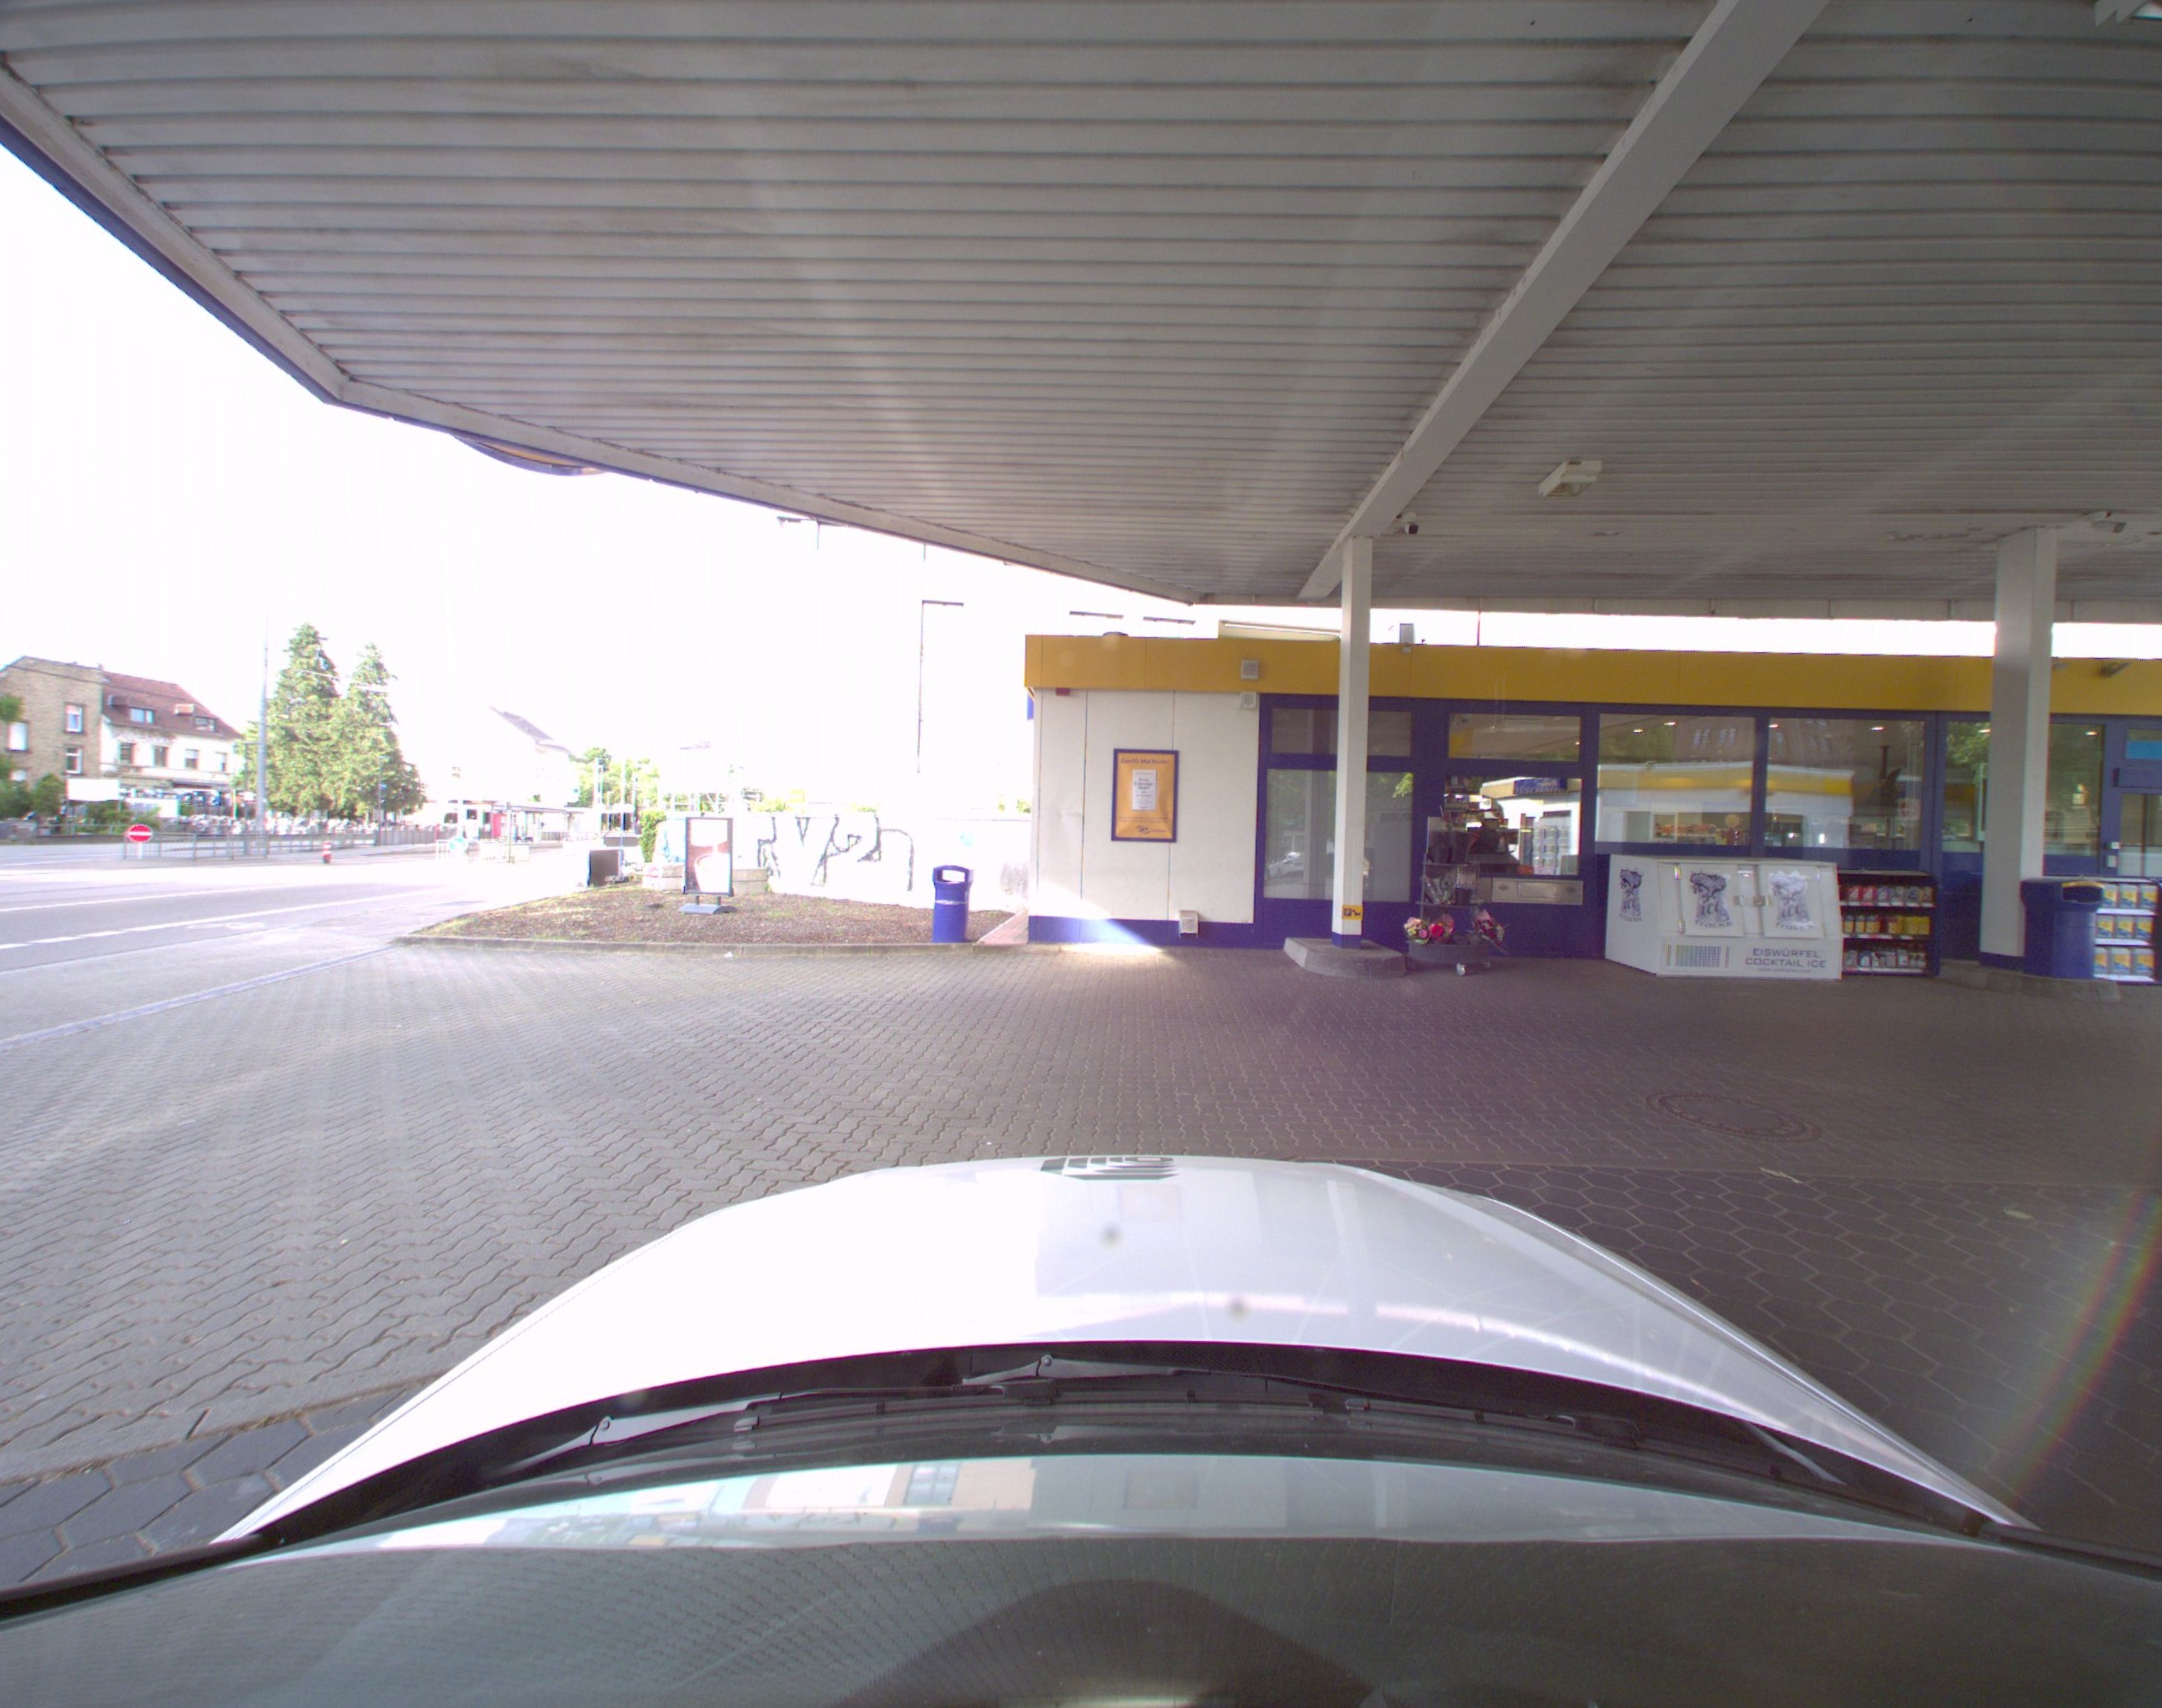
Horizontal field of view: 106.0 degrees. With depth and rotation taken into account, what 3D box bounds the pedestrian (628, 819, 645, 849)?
[{"bbox_3d":[-30.000,-1.332,55.004,0.807,2.014,0.846,0,-1,-14],"label":"pedestrian"}]
